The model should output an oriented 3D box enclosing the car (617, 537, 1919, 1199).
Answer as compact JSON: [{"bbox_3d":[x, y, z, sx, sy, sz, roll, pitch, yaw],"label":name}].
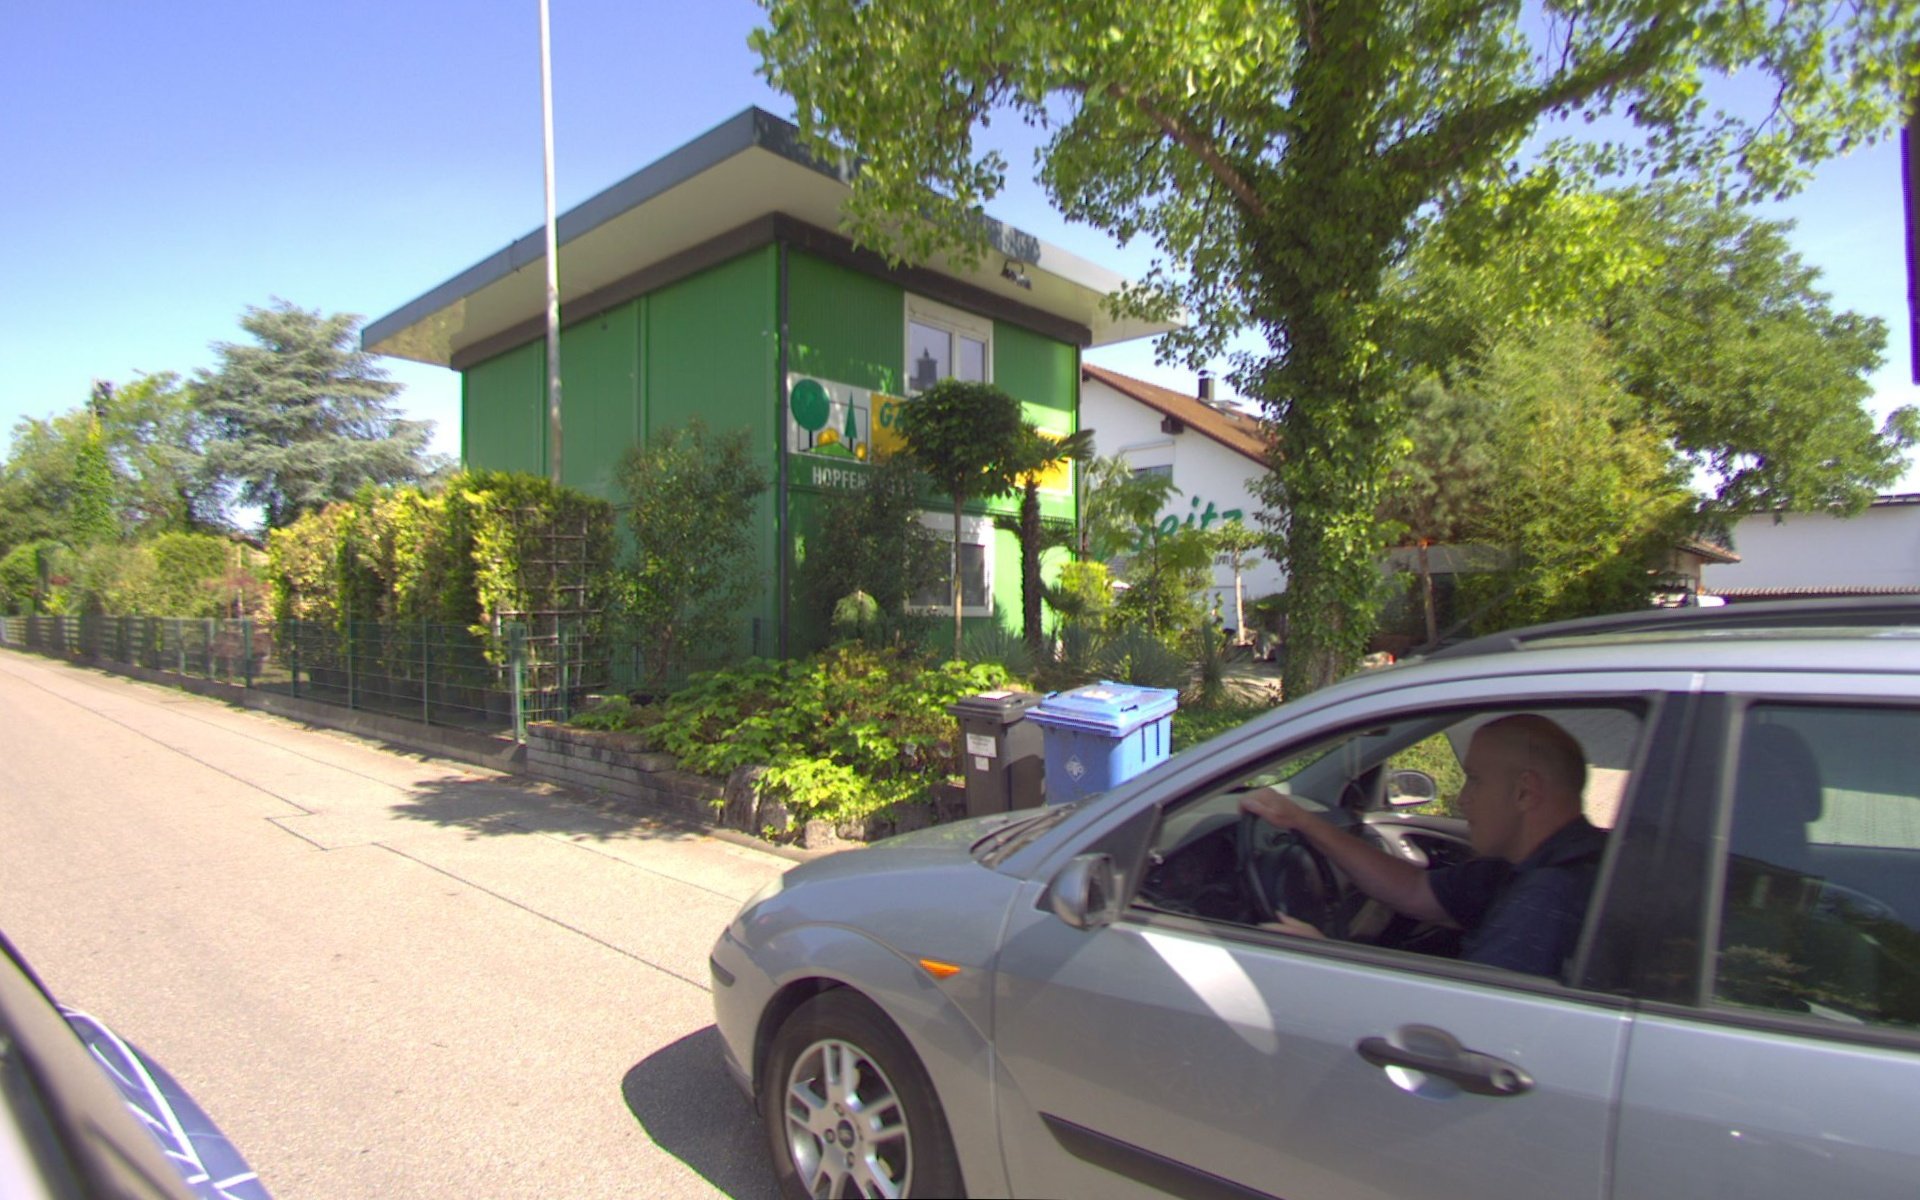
[{"bbox_3d":[1.271,0.726,2.012,4.374,1.498,1.734,-1,-3,42],"label":"car"}]

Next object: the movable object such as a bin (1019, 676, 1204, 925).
[{"bbox_3d":[0.771,0.954,5.108,0.612,1.062,0.723,-1,0,43],"label":"movable object such as a bin"}]

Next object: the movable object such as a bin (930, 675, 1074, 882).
[{"bbox_3d":[0.238,0.972,5.749,0.568,1.032,0.576,-1,0,43],"label":"movable object such as a bin"}]

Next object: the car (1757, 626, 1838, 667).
[{"bbox_3d":[31.838,1.722,38.450,3.940,1.453,1.904,2,-2,-44],"label":"car"}]
